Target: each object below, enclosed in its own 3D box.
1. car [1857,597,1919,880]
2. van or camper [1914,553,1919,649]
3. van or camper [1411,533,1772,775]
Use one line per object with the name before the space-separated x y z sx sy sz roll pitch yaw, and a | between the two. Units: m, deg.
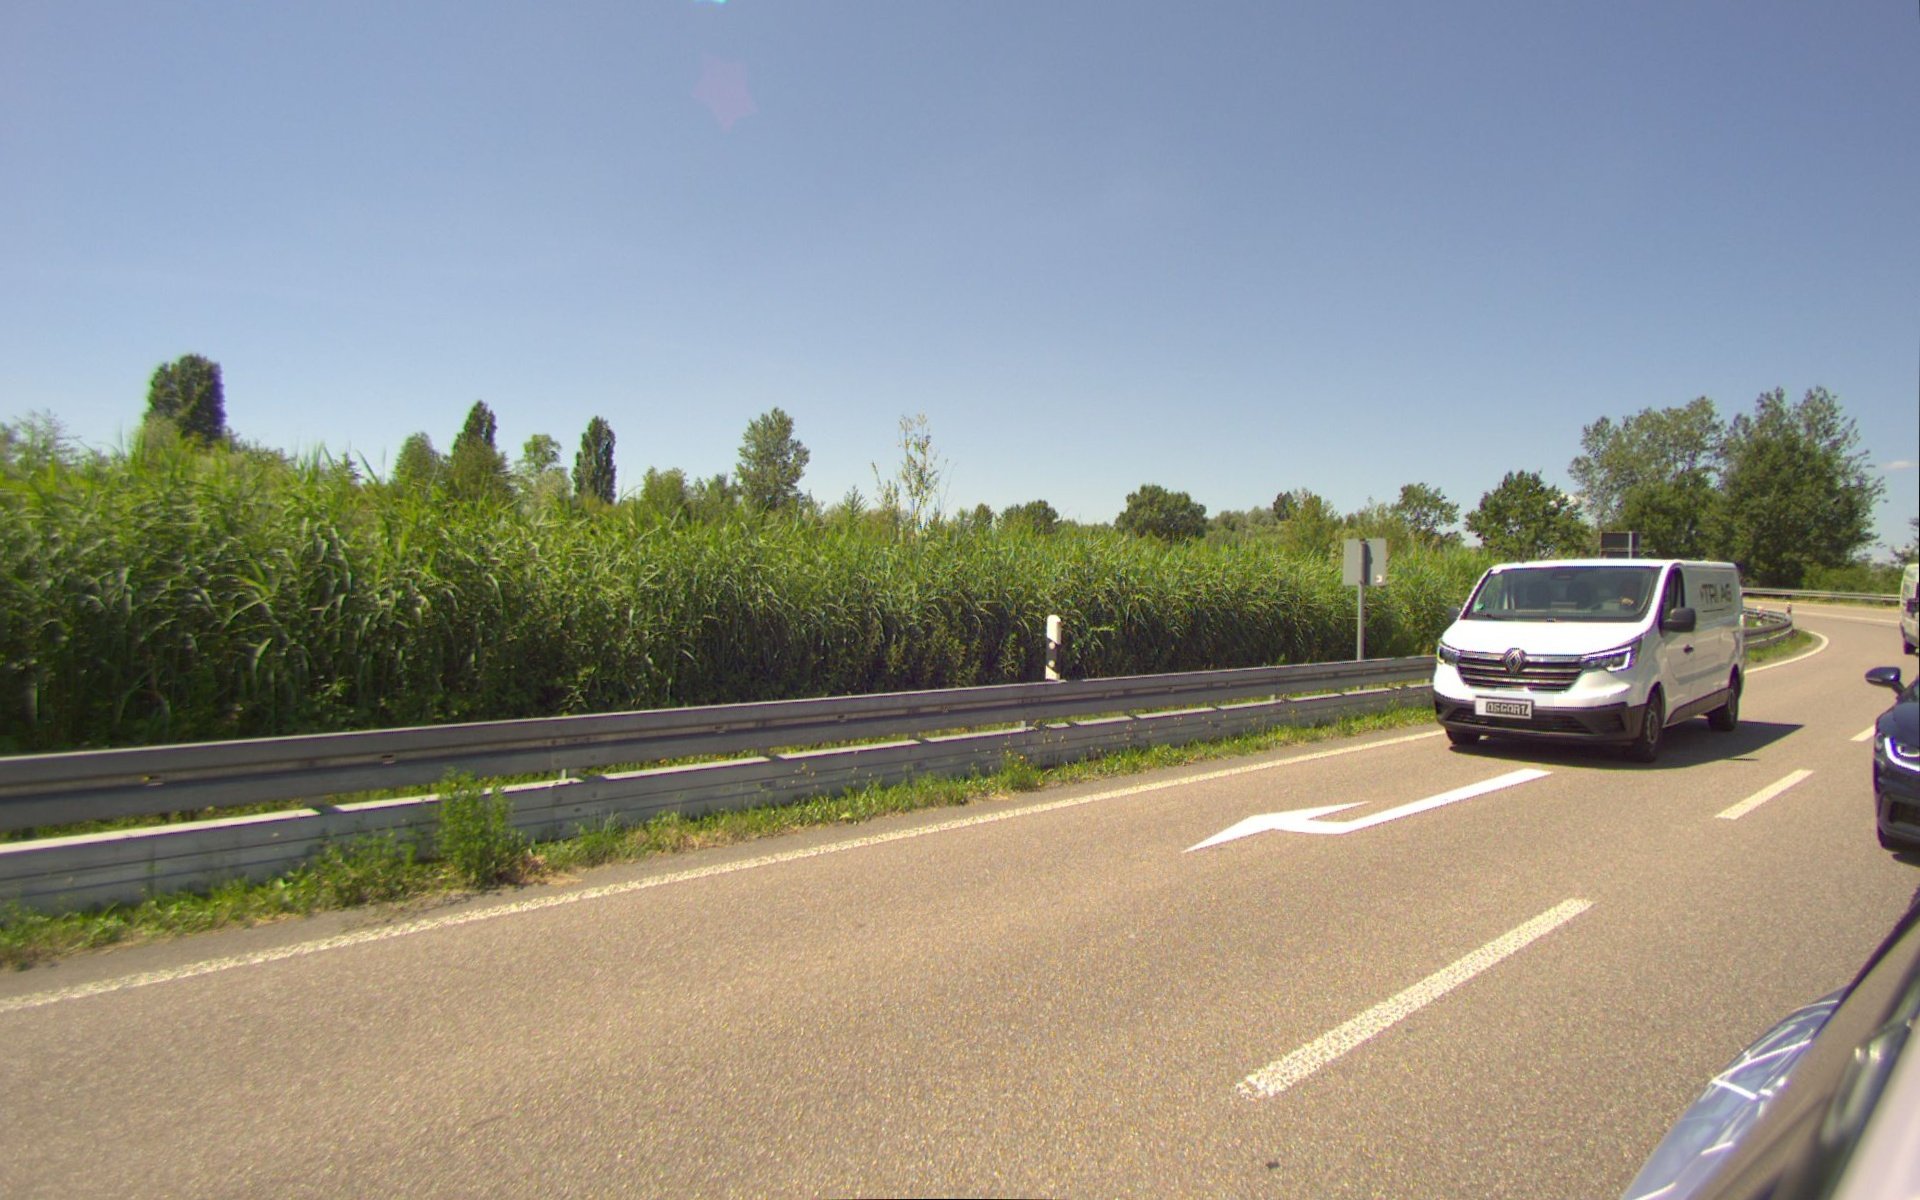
car | 7.098 0.714 6.208 4.454 1.448 1.841 -1 0 -41
van or camper | 25.766 0.037 25.520 2.065 2.587 5.961 0 0 39
van or camper | 7.156 0.430 11.167 5.355 2.057 2.006 -1 0 -42
